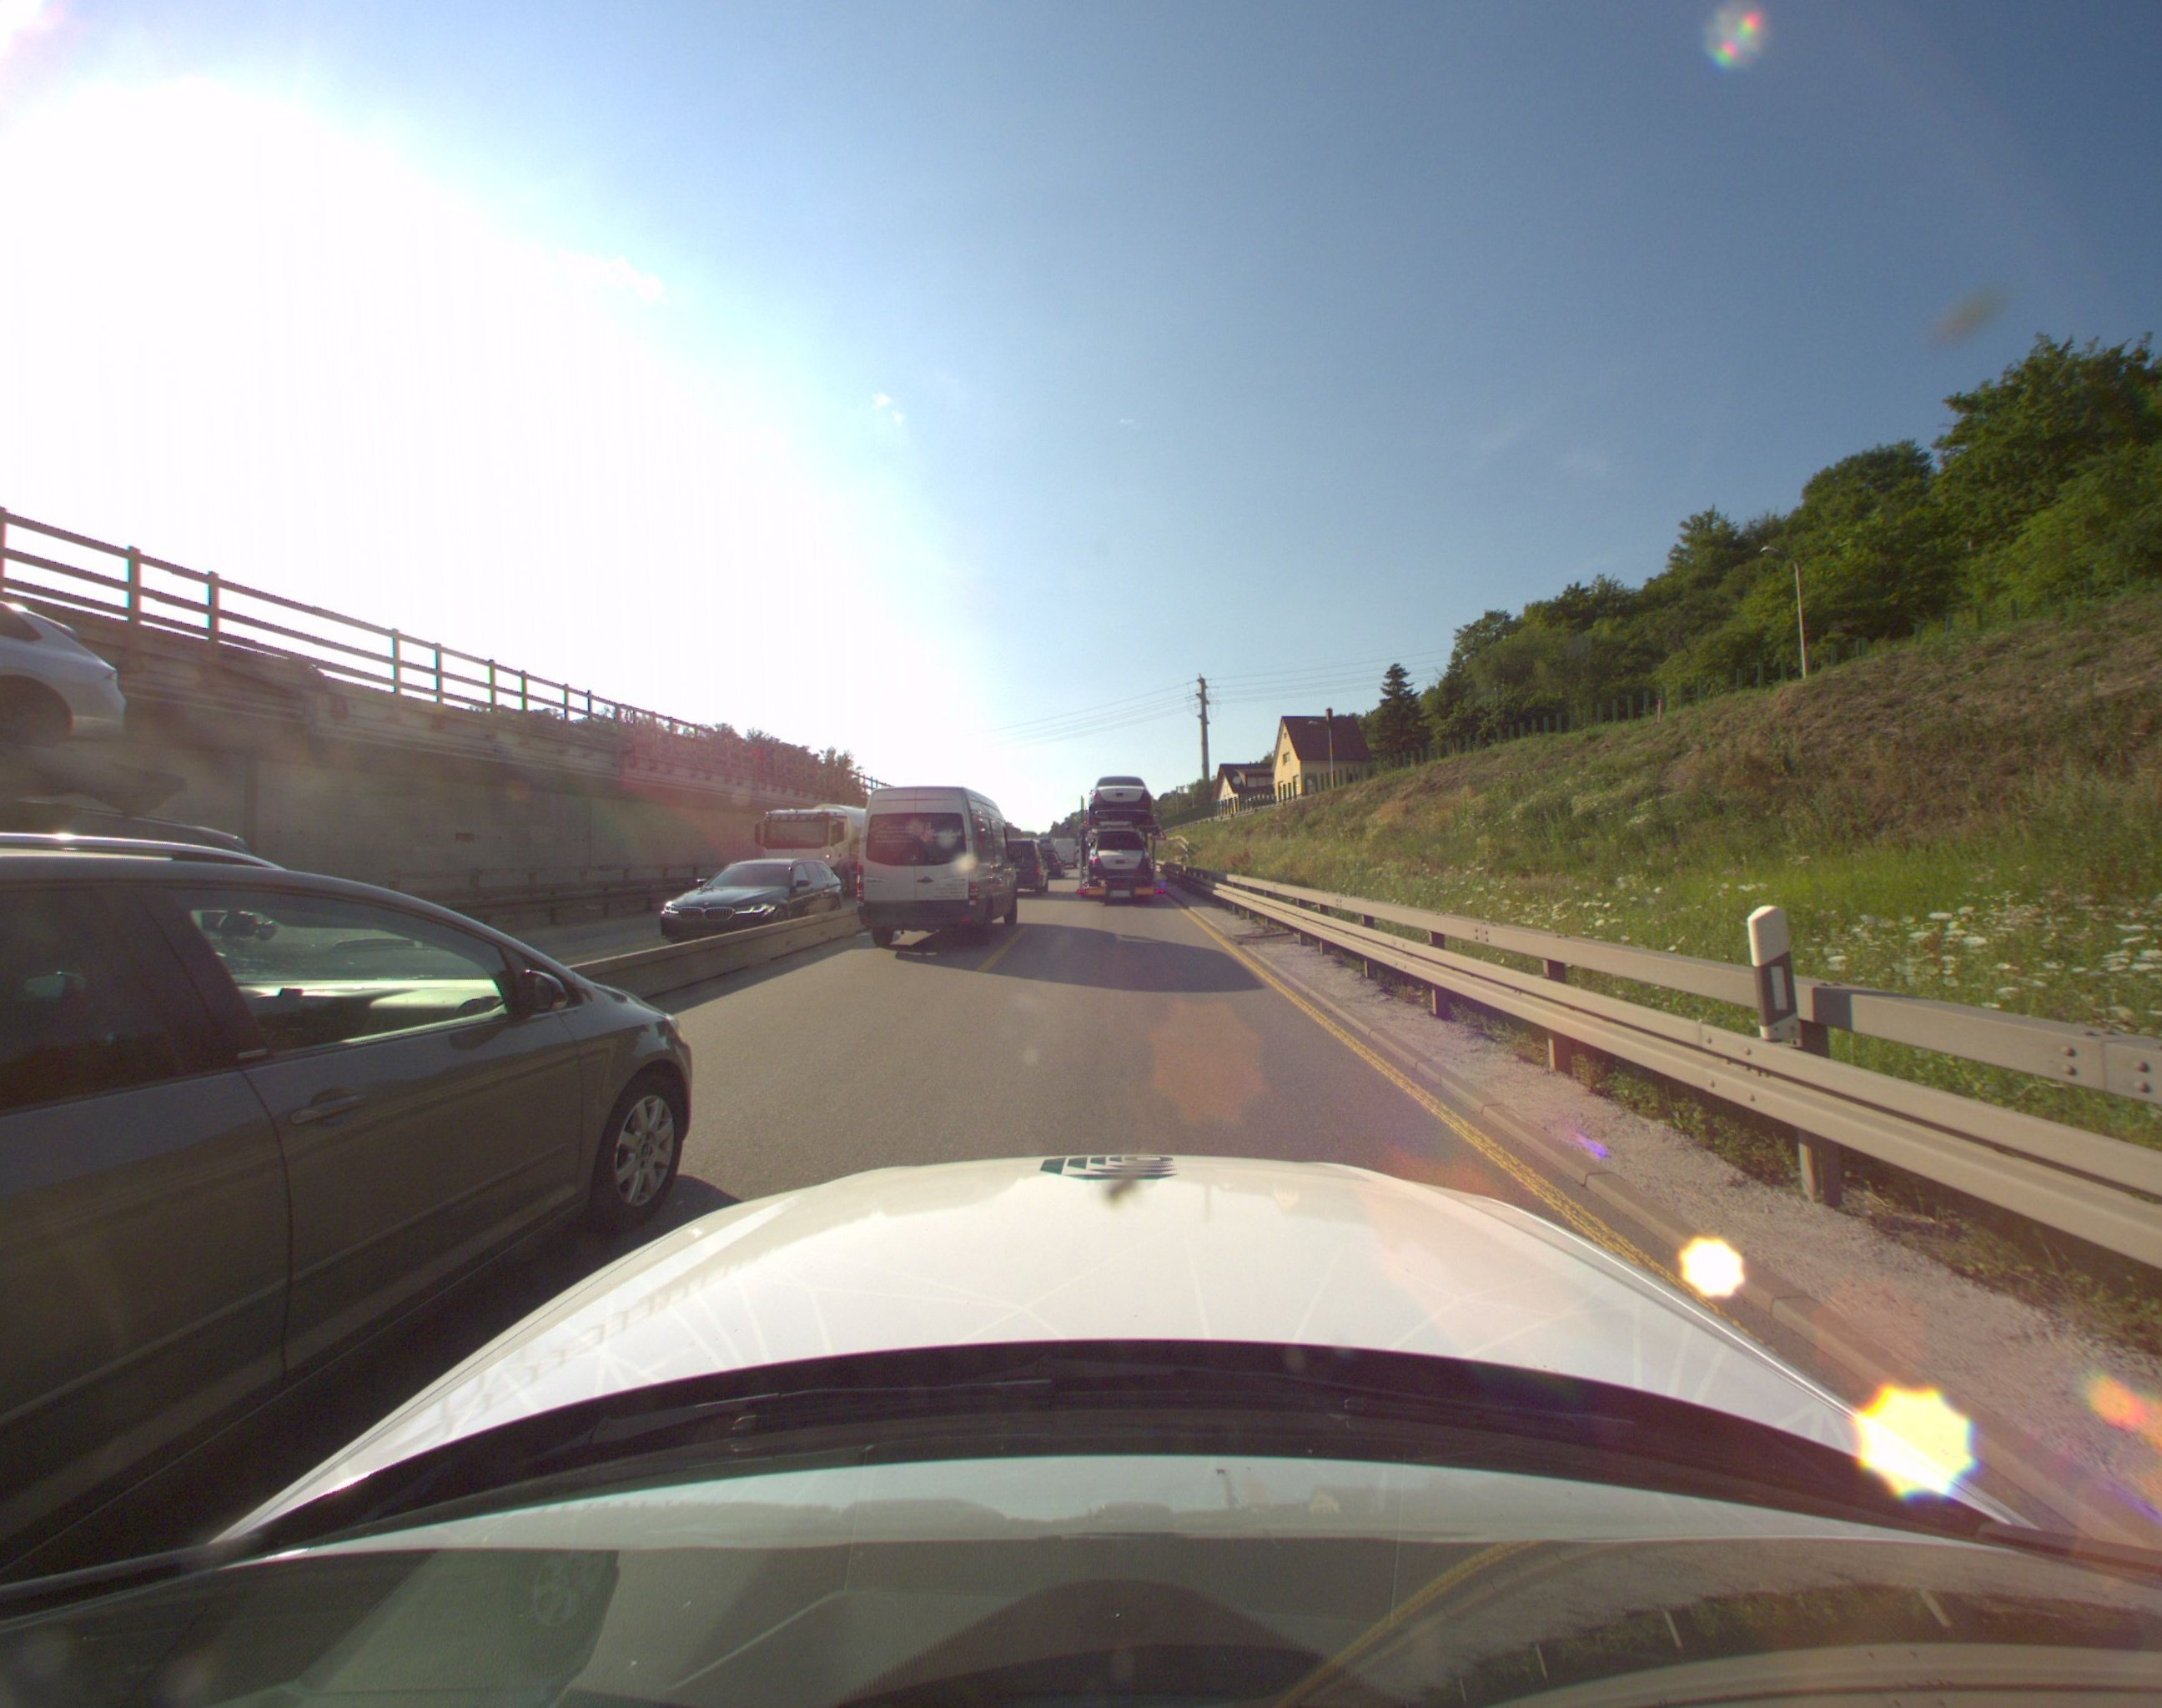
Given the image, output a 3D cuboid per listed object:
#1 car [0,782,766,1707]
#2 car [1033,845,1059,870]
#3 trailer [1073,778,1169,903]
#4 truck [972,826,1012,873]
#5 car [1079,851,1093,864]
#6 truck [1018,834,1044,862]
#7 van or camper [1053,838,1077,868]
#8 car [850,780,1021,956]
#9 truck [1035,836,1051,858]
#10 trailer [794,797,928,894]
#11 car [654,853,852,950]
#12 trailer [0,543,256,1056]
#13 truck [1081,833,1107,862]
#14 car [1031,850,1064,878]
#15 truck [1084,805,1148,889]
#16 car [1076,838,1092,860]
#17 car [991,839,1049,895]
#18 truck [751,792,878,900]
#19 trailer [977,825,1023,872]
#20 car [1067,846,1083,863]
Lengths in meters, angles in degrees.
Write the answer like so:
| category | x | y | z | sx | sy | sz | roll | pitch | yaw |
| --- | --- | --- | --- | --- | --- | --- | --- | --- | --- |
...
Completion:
| category | x | y | z | sx | sy | sz | roll | pitch | yaw |
| --- | --- | --- | --- | --- | --- | --- | --- | --- | --- |
| car | -2.606 | 0.708 | 2.279 | 1.674 | 1.588 | 4.272 | -1 | -1 | 1 |
| car | -3.616 | 0.384 | 84.959 | 2.463 | 2.534 | 4.000 | 1 | -1 | 1 |
| trailer | 1.372 | -0.334 | 30.713 | 2.672 | 3.535 | 15.293 | -1 | 0 | 2 |
| truck | -7.926 | -0.368 | 73.379 | 2.850 | 4.008 | 5.659 | 0 | -1 | 1 |
| car | 0.763 | 0.553 | 122.375 | 1.986 | 1.860 | 4.002 | -1 | 0 | 2 |
| truck | -6.655 | -0.752 | 109.753 | 2.706 | 3.424 | 8.141 | -4 | -1 | 0 |
| van or camper | -1.375 | -0.057 | 72.823 | 1.961 | 2.591 | 5.042 | 0 | -1 | 1 |
| car | -2.434 | 0.194 | 15.246 | 1.986 | 2.648 | 5.532 | -2 | 0 | 1 |
| truck | -7.460 | -1.381 | 160.966 | 2.616 | 4.112 | 9.625 | -4 | 0 | 0 |
| trailer | -9.029 | -0.272 | 35.096 | 2.547 | 3.526 | 10.685 | 0 | -1 | 2 |
| car | -5.962 | 0.785 | 15.534 | 1.759 | 1.552 | 4.837 | 0 | -1 | 1 |
| trailer | -9.999 | -0.482 | 0.437 | 2.761 | 4.031 | 15.766 | 0 | -1 | 1 |
| truck | 2.259 | -1.117 | 138.962 | 4.049 | 4.679 | 10.598 | -1 | 0 | 2 |
| car | -1.899 | 0.562 | 47.329 | 1.720 | 1.522 | 3.973 | 0 | 0 | 0 |
| truck | 1.587 | -0.259 | 38.168 | 2.672 | 3.535 | 7.196 | -1 | 0 | 2 |
| car | 0.673 | -1.103 | 189.160 | 3.435 | 5.035 | 9.649 | -1 | 0 | -1 |
| car | -2.145 | 0.480 | 29.737 | 1.802 | 1.904 | 3.999 | 0 | -1 | 0 |
| truck | -9.171 | -0.231 | 28.721 | 2.539 | 3.409 | 5.532 | 0 | -1 | 1 |
| trailer | -7.805 | -0.413 | 80.290 | 2.903 | 4.240 | 13.770 | 0 | -1 | 1 |
| car | -0.687 | 0.075 | 101.700 | 1.879 | 2.100 | 3.766 | -1 | 0 | 1 |
